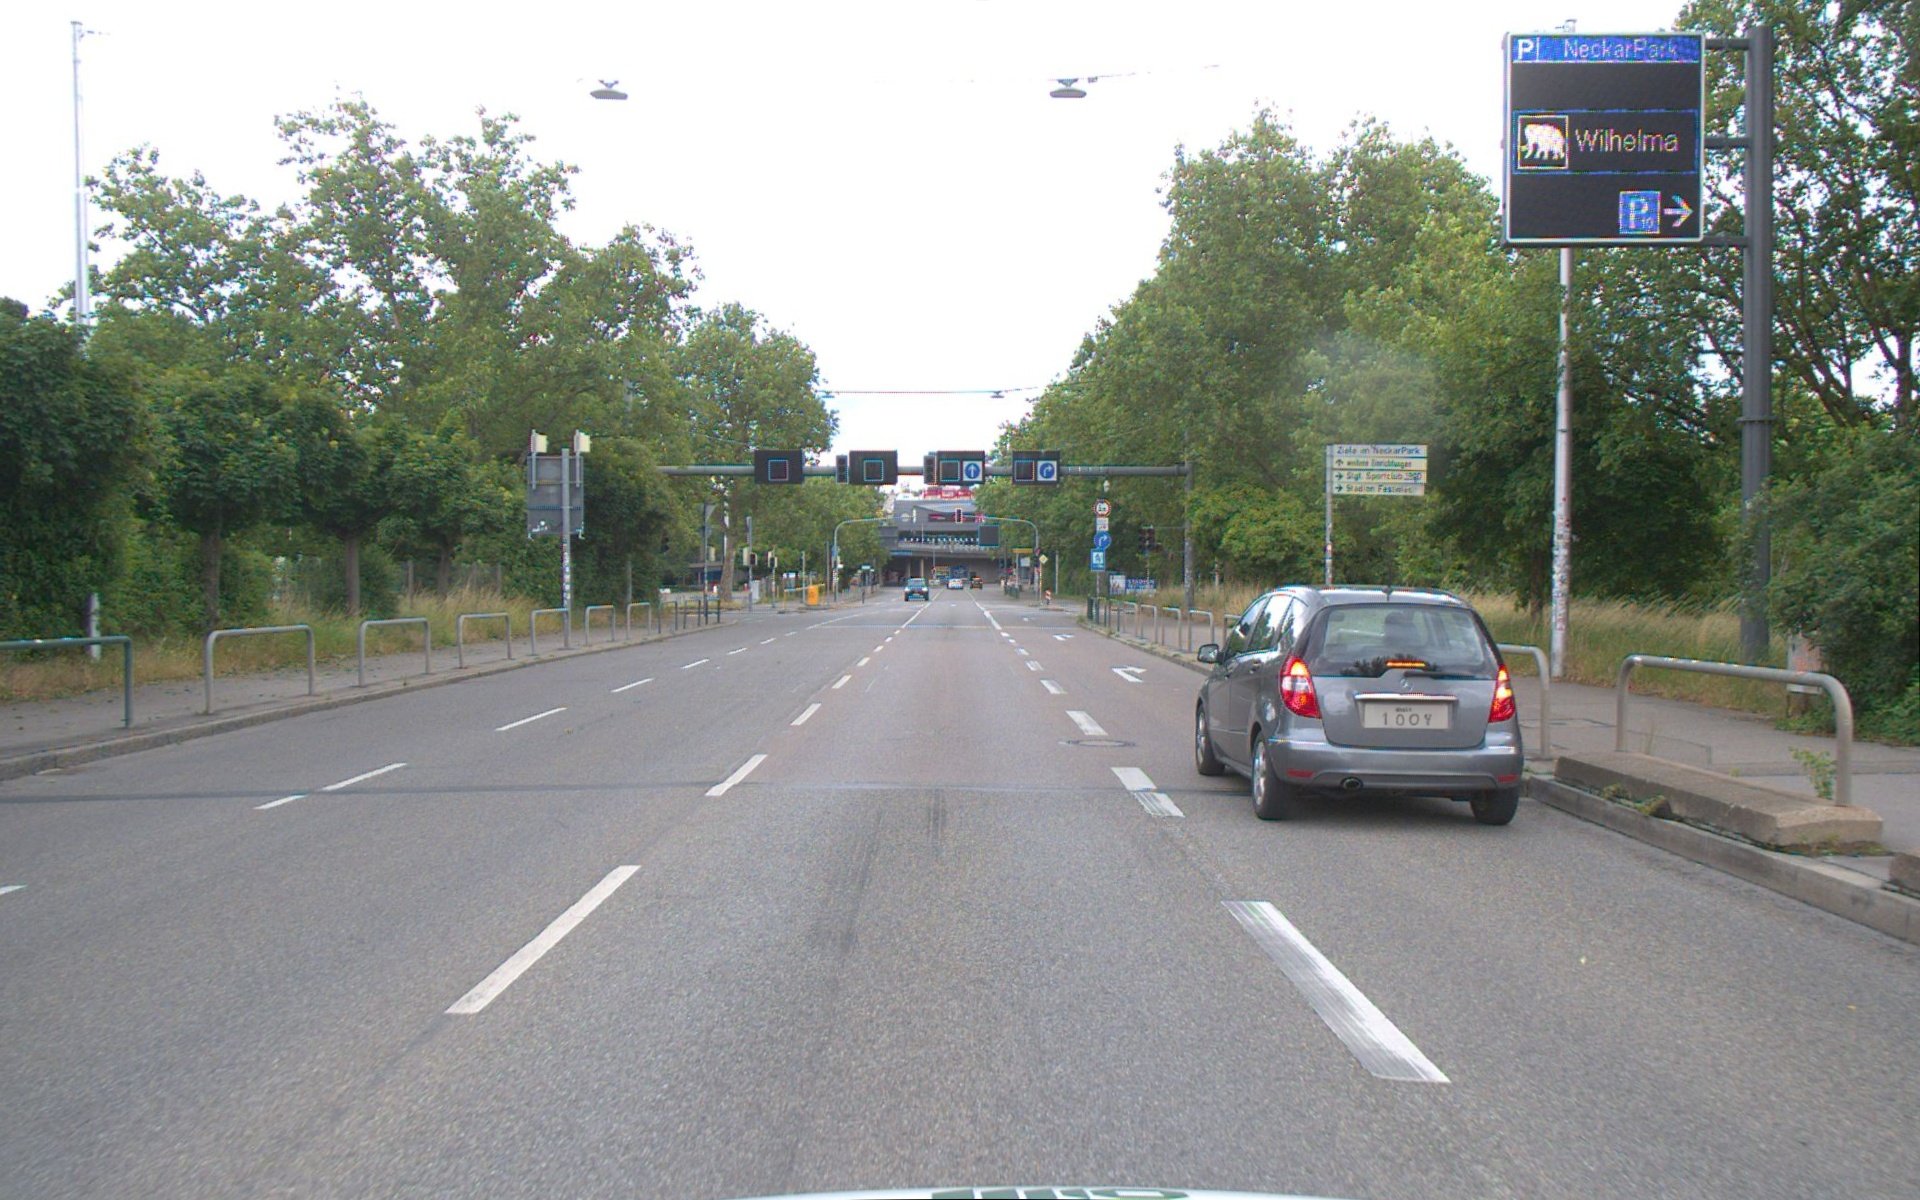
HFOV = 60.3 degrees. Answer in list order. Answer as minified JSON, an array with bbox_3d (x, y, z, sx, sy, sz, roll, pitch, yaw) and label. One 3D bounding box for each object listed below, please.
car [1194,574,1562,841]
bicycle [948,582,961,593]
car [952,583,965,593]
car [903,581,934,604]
[{"bbox_3d":[2.876,0.704,12.275,1.788,1.645,4.034,0,-1,1],"label":"car"},{"bbox_3d":[-0.861,-1.876,248.005,1.953,1.534,4.000,0,1,-1],"label":"bicycle"},{"bbox_3d":[-0.217,-1.707,239.098,1.742,1.486,3.822,1,0,1],"label":"car"},{"bbox_3d":[-3.163,-0.560,126.682,1.952,1.689,4.519,-2,0,3],"label":"car"}]
